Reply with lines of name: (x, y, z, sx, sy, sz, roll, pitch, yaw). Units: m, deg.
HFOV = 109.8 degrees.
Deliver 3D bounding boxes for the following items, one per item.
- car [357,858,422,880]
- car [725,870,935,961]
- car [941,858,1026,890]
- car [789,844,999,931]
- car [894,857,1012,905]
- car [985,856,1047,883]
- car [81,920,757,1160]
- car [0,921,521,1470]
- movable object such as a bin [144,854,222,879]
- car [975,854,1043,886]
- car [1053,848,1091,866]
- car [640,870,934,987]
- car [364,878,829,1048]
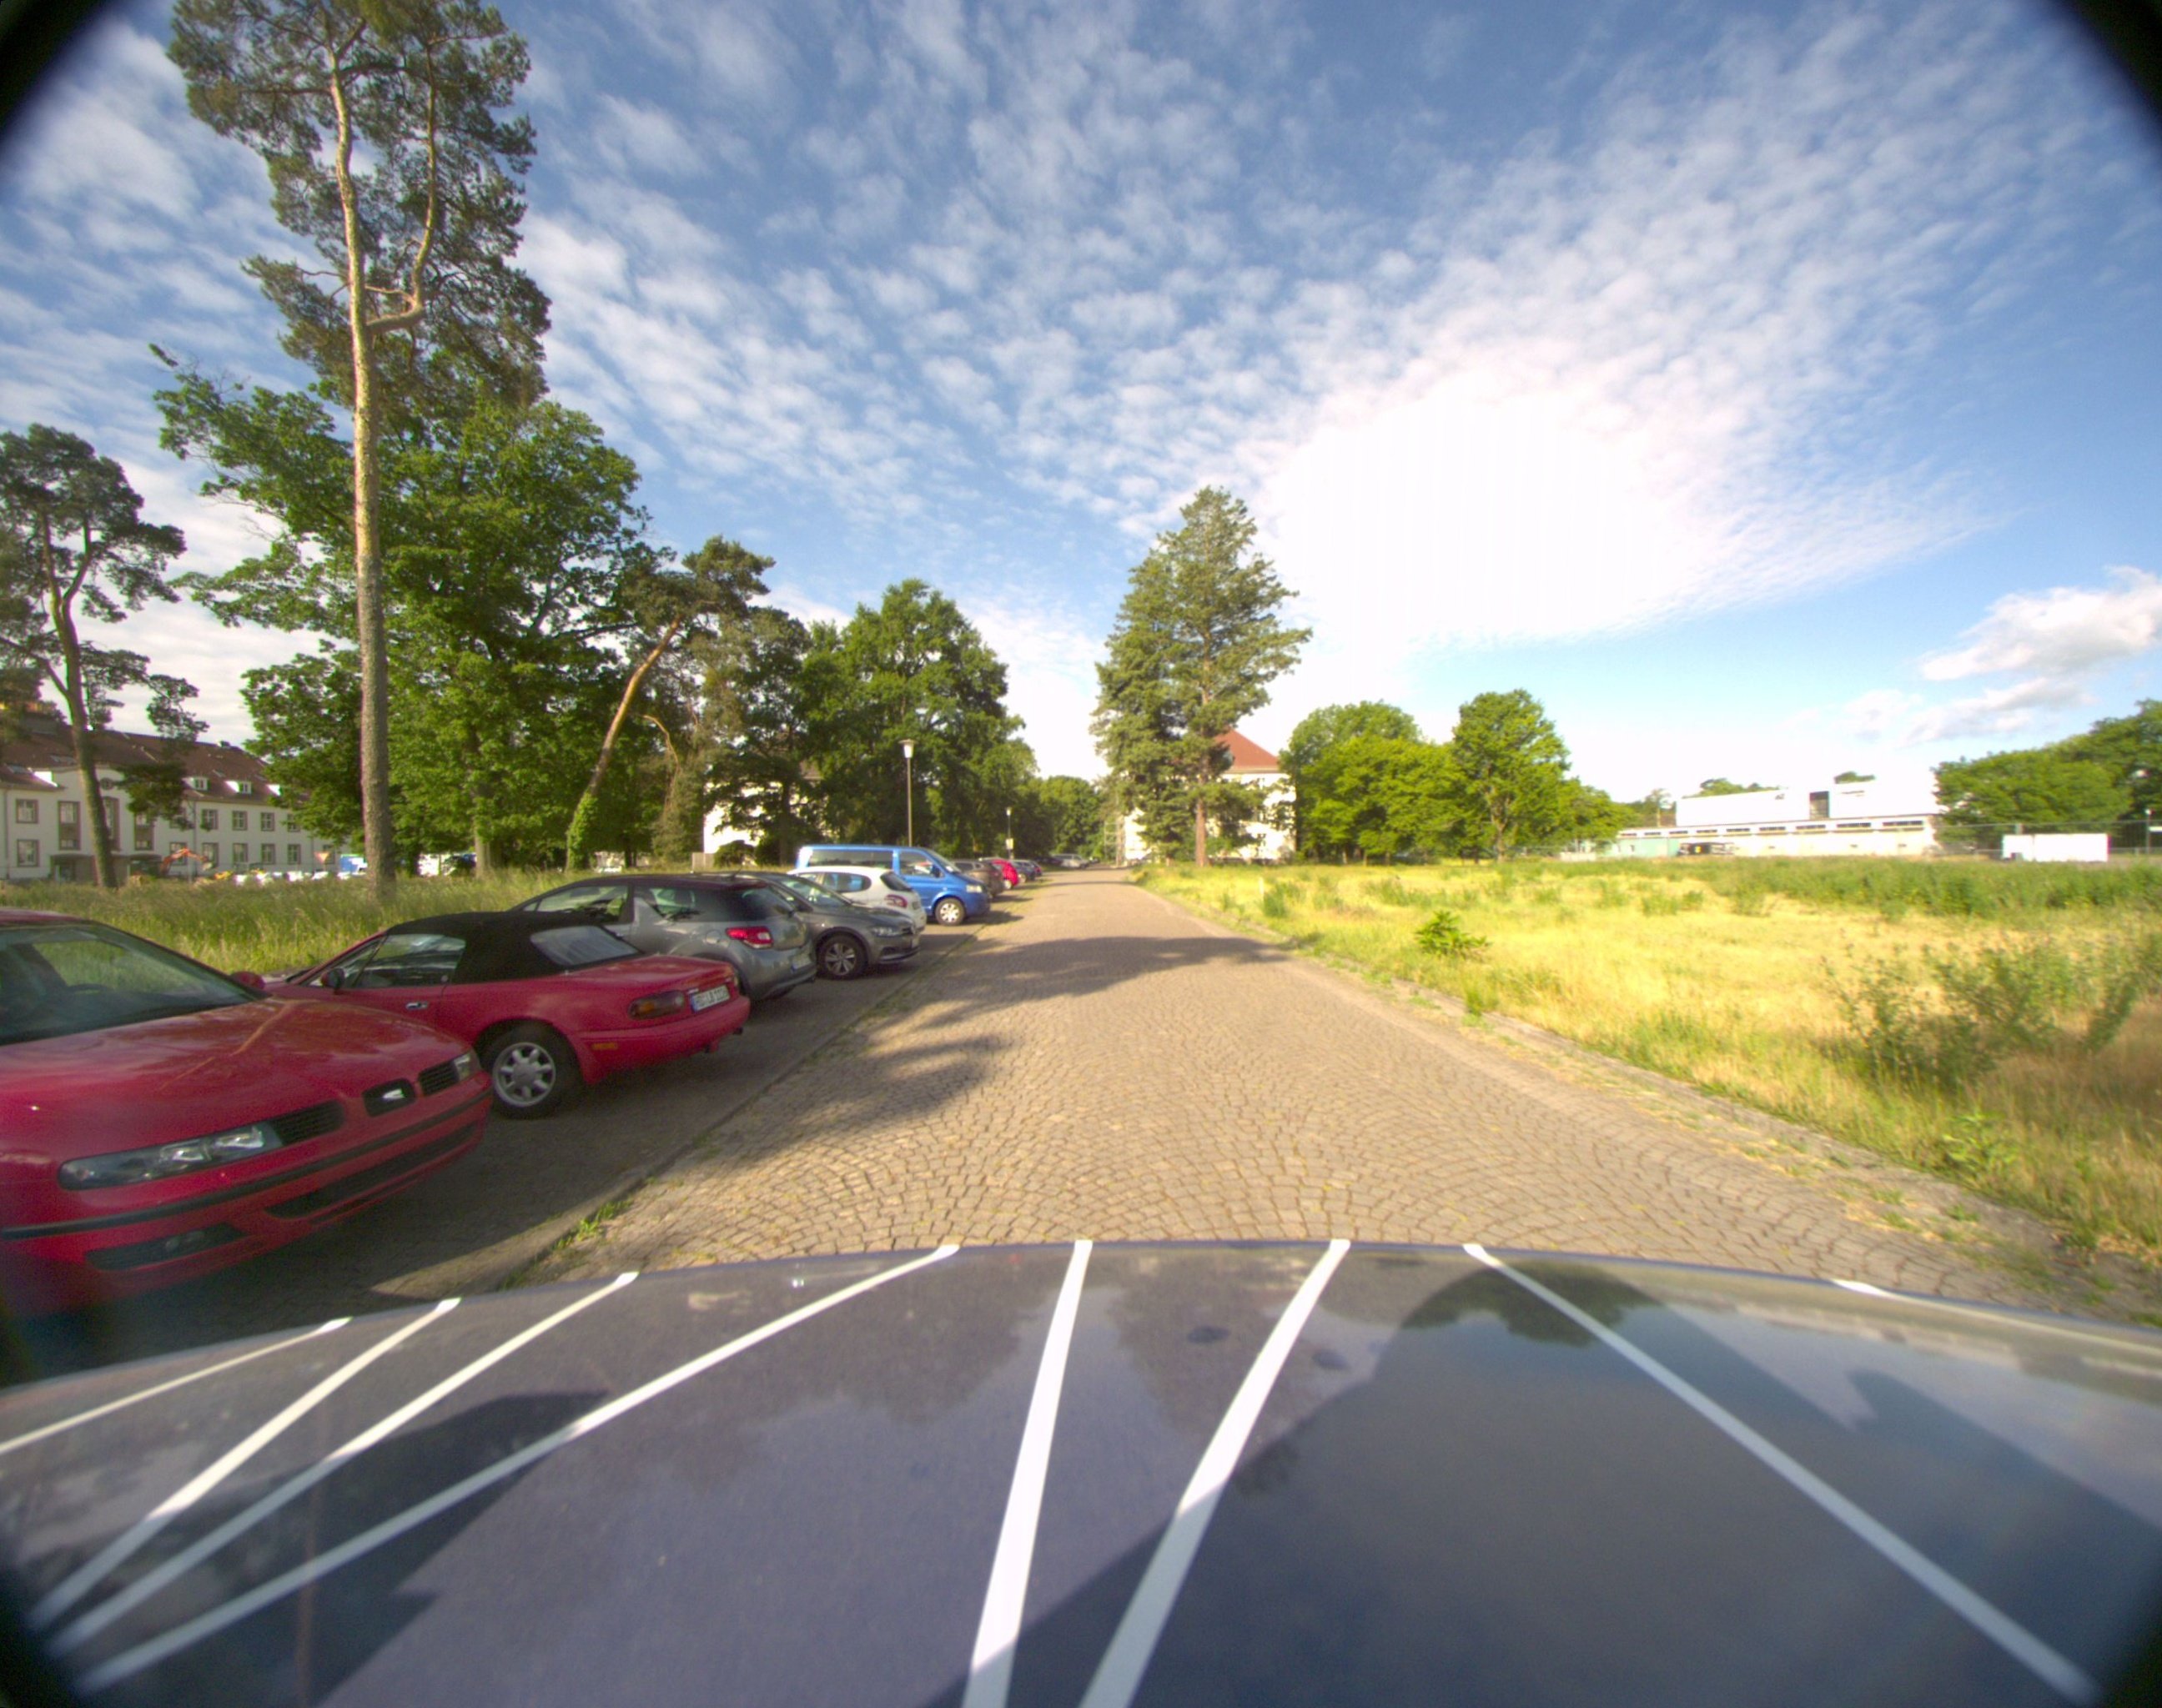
car: (-68.489, 1.436, 75.352, 1.998, 2.002, 4.773, -1, 0, 1)
car: (-4.436, 1.079, 13.709, 3.264, 1.482, 1.449, -1, 1, 2)
car: (-4.878, 0.991, 38.393, 3.996, 1.509, 1.757, -1, 1, 3)
car: (-4.569, 0.791, 19.095, 4.726, 2.002, 2.000, -1, 1, 1)
car: (-4.664, 0.973, 28.033, 3.996, 1.630, 1.757, -1, 1, 3)
car: (-4.565, 1.060, 53.443, 3.996, 1.605, 1.757, -4, 1, 4)
car: (-4.229, 1.165, 5.229, 3.357, 1.248, 1.420, -1, 1, -1)
car: (-4.760, 1.033, 2.949, 3.918, 1.385, 1.661, 0, 1, -1)
movable object such as a bin: (-90.600, 1.225, 76.758, 1.999, 2.309, 4.985, -1, 0, -3)
car: (-4.576, 0.986, 48.584, 3.996, 1.731, 1.756, -4, 1, 3)
car: (-1.150, 0.391, 102.025, 5.068, 2.251, 2.000, -1, 1, 0)
car: (-4.118, 1.001, 10.856, 3.621, 1.482, 1.509, -1, 1, 10)
car: (-4.775, 1.041, 7.876, 3.779, 1.482, 1.549, -1, 1, -1)
